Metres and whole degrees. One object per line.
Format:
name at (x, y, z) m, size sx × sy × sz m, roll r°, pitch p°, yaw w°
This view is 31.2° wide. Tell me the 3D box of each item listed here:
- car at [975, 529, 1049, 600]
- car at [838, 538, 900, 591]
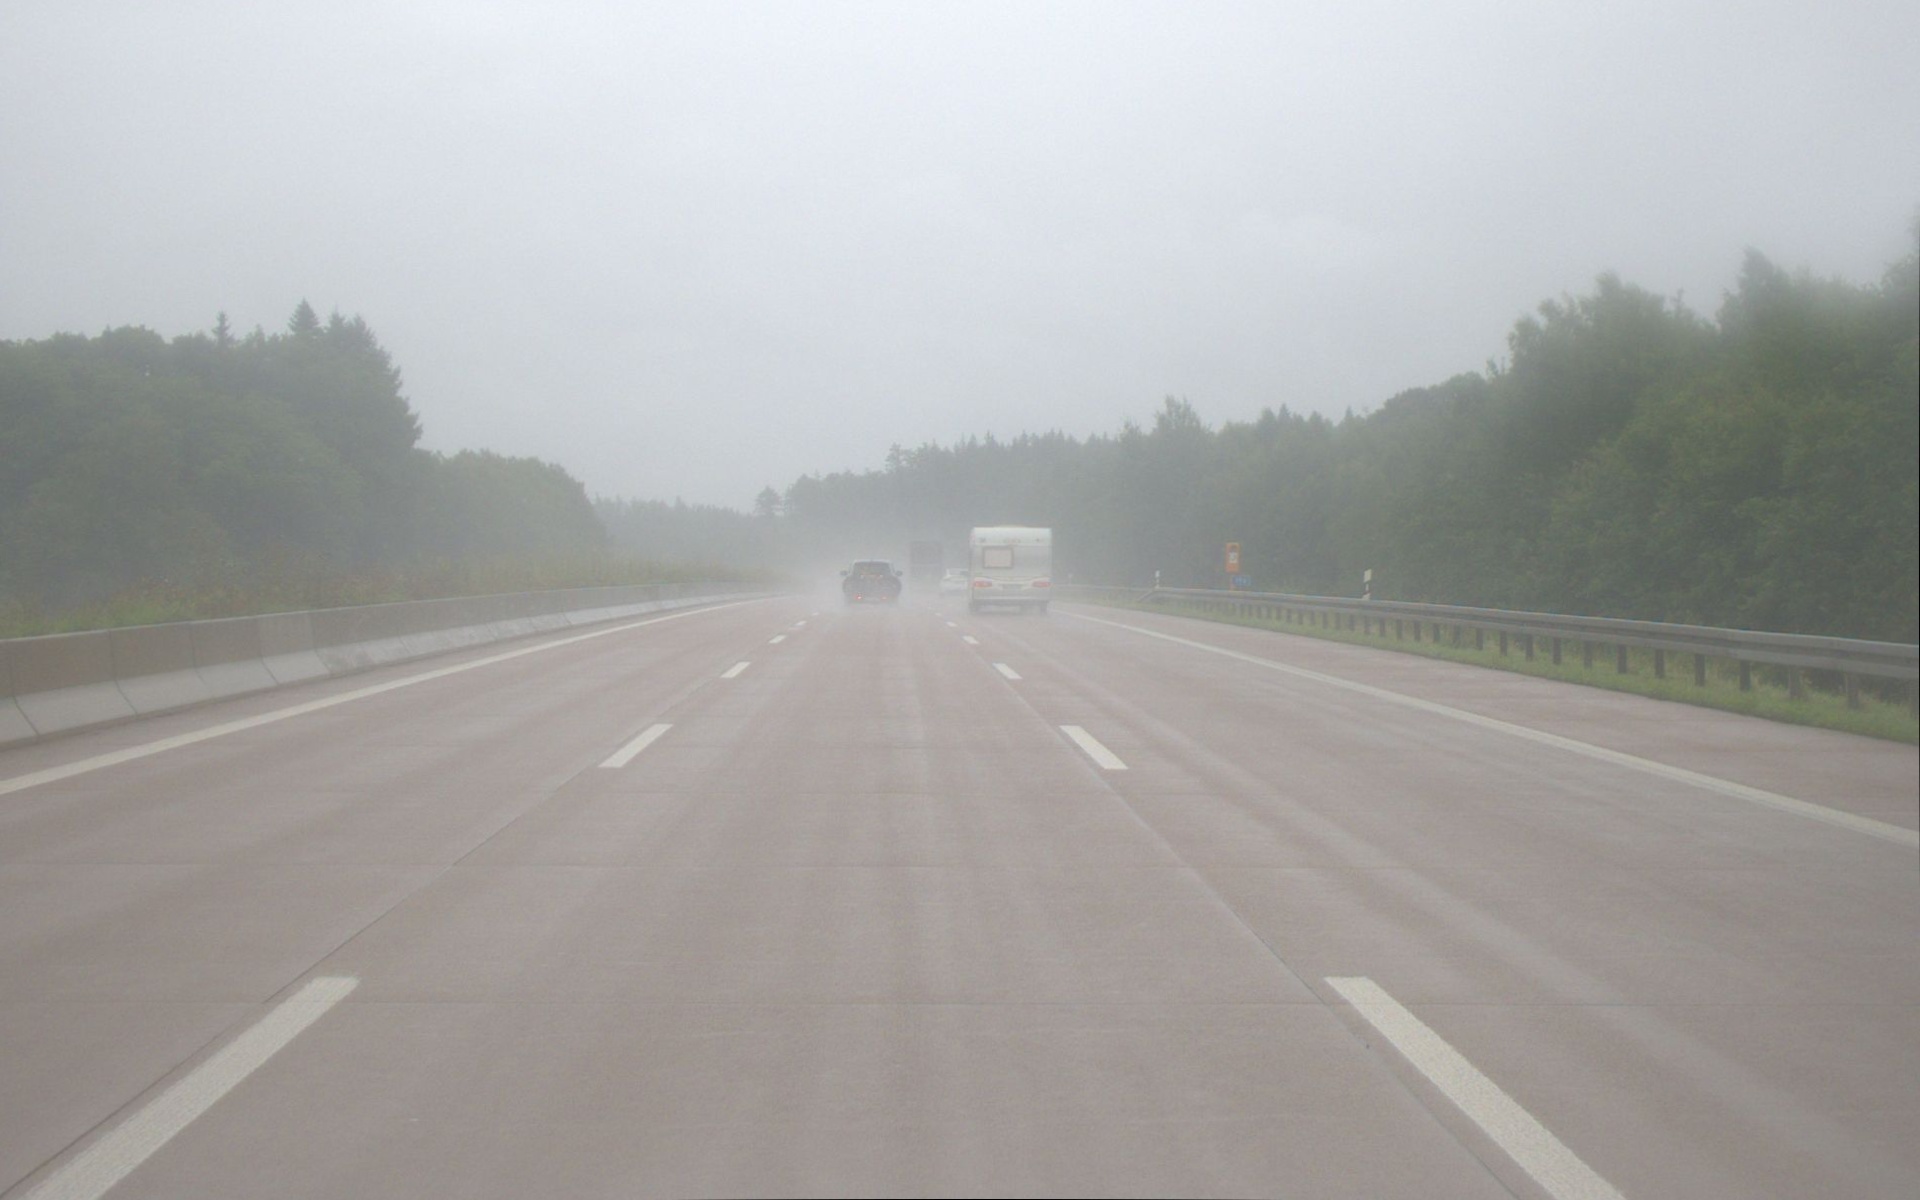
car at (1.478, -1.040, 99.037) m, size 2.058 × 1.993 × 4.099 m, roll 0°, pitch 1°, yaw 0°
car at (-2.995, -1.178, 113.846) m, size 1.937 × 1.723 × 4.130 m, roll 0°, pitch 1°, yaw 0°
